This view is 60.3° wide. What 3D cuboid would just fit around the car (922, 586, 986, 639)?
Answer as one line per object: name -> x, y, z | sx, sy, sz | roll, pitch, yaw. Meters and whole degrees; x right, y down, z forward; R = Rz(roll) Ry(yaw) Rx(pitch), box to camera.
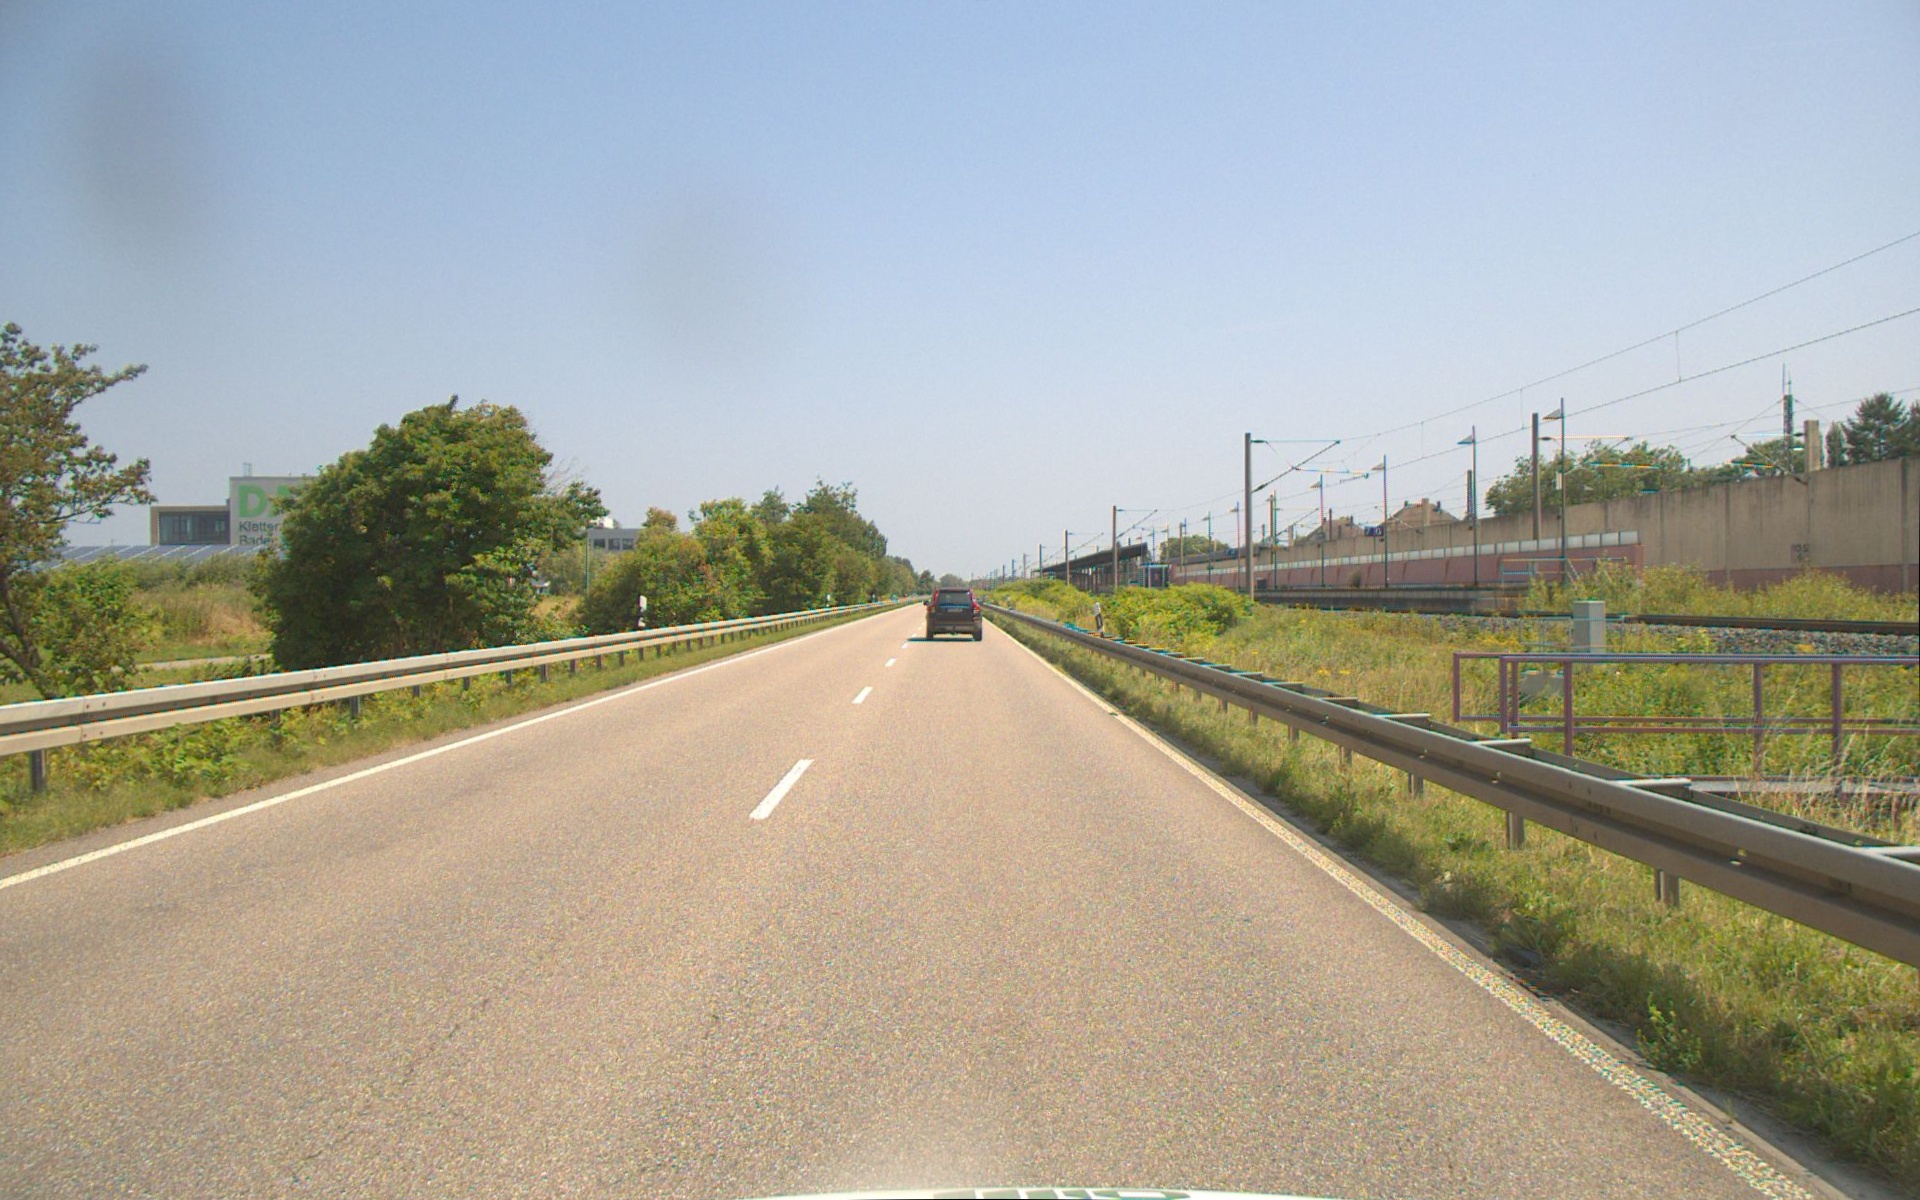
car -> -0.238, 0.402, 55.337 | 1.954, 1.730, 3.998 | 0, 0, -3
